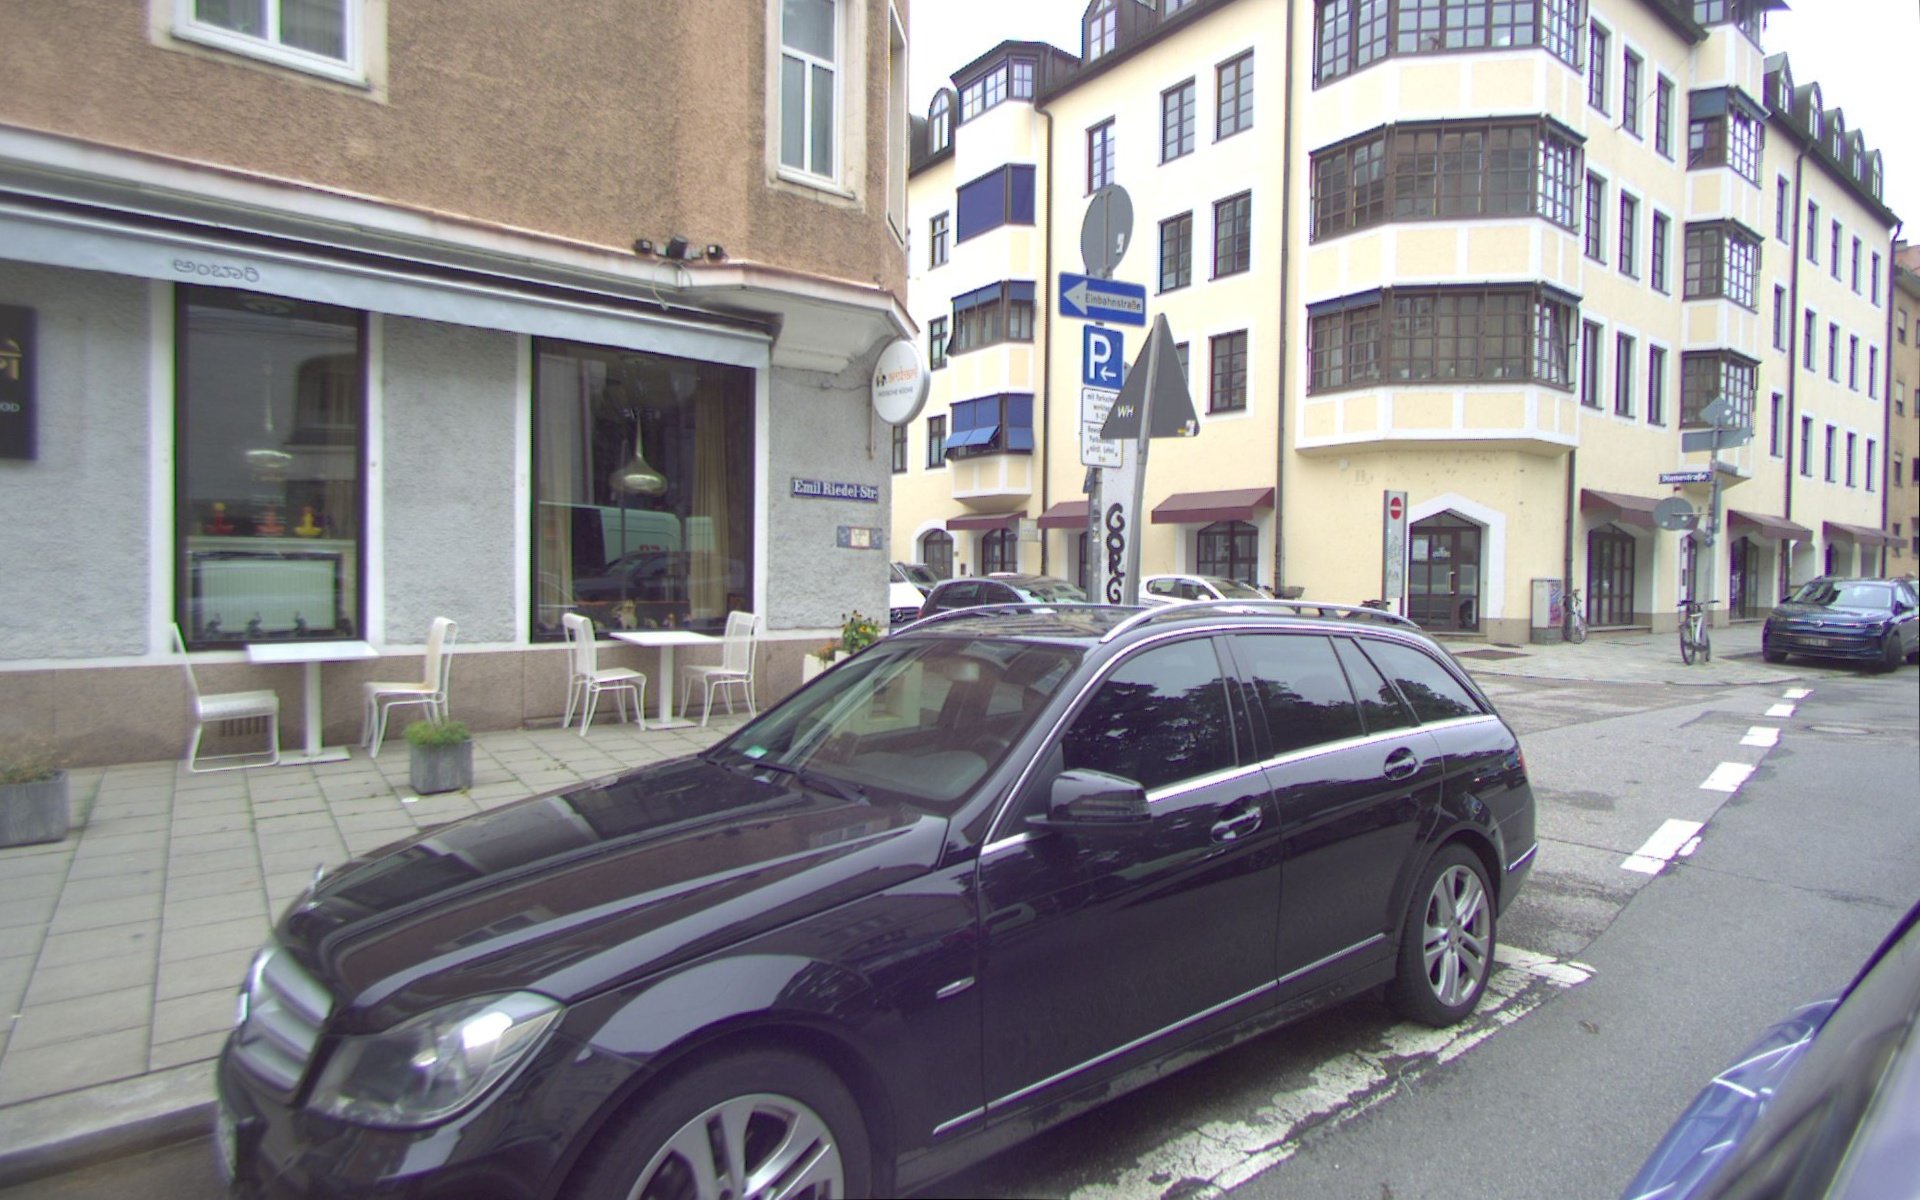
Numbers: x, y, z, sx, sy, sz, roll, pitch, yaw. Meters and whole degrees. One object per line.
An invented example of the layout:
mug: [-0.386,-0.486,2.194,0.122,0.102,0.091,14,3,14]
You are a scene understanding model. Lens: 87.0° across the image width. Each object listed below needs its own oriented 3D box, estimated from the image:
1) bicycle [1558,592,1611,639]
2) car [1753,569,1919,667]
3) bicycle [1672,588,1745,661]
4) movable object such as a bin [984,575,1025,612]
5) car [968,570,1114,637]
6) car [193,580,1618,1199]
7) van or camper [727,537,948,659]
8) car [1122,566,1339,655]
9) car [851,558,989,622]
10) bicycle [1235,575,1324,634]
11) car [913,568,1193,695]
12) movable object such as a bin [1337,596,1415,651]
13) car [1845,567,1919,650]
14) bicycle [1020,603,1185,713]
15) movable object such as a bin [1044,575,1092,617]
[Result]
bicycle: [13.173,0.306,21.333,1.663,0.912,0.263,-1,6,-36]
car: [17.102,0.251,19.281,4.414,1.642,2.112,-1,2,-38]
bicycle: [13.209,0.402,17.834,2.015,1.173,0.431,-2,3,-37]
movable object such as a bin: [1.311,-0.205,29.976,0.671,1.026,1.126,-1,3,-36]
car: [1.824,0.017,23.760,1.608,1.353,3.458,-1,3,-34]
car: [0.322,0.652,3.484,4.701,1.422,1.851,-1,2,-38]
van or camper: [-2.436,-0.145,18.863,1.925,1.942,4.916,-3,4,-36]
car: [5.024,0.160,19.234,1.717,1.458,3.749,3,1,-33]
car: [-1.167,-0.339,27.787,1.947,1.603,4.030,-1,2,-35]
bicycle: [6.974,0.070,22.180,0.506,1.201,1.906,0,2,-36]
car: [1.177,0.322,14.385,1.857,1.506,3.884,-1,3,-37]
movable object such as a bin: [7.639,0.412,18.596,0.671,0.911,1.126,-1,3,-36]
car: [21.342,0.146,22.201,4.084,1.607,1.821,-1,7,-34]
bicycle: [1.476,0.565,10.331,1.768,1.017,0.497,1,3,-36]
movable object such as a bin: [2.963,-0.129,27.758,0.753,1.094,1.126,-1,3,-36]
